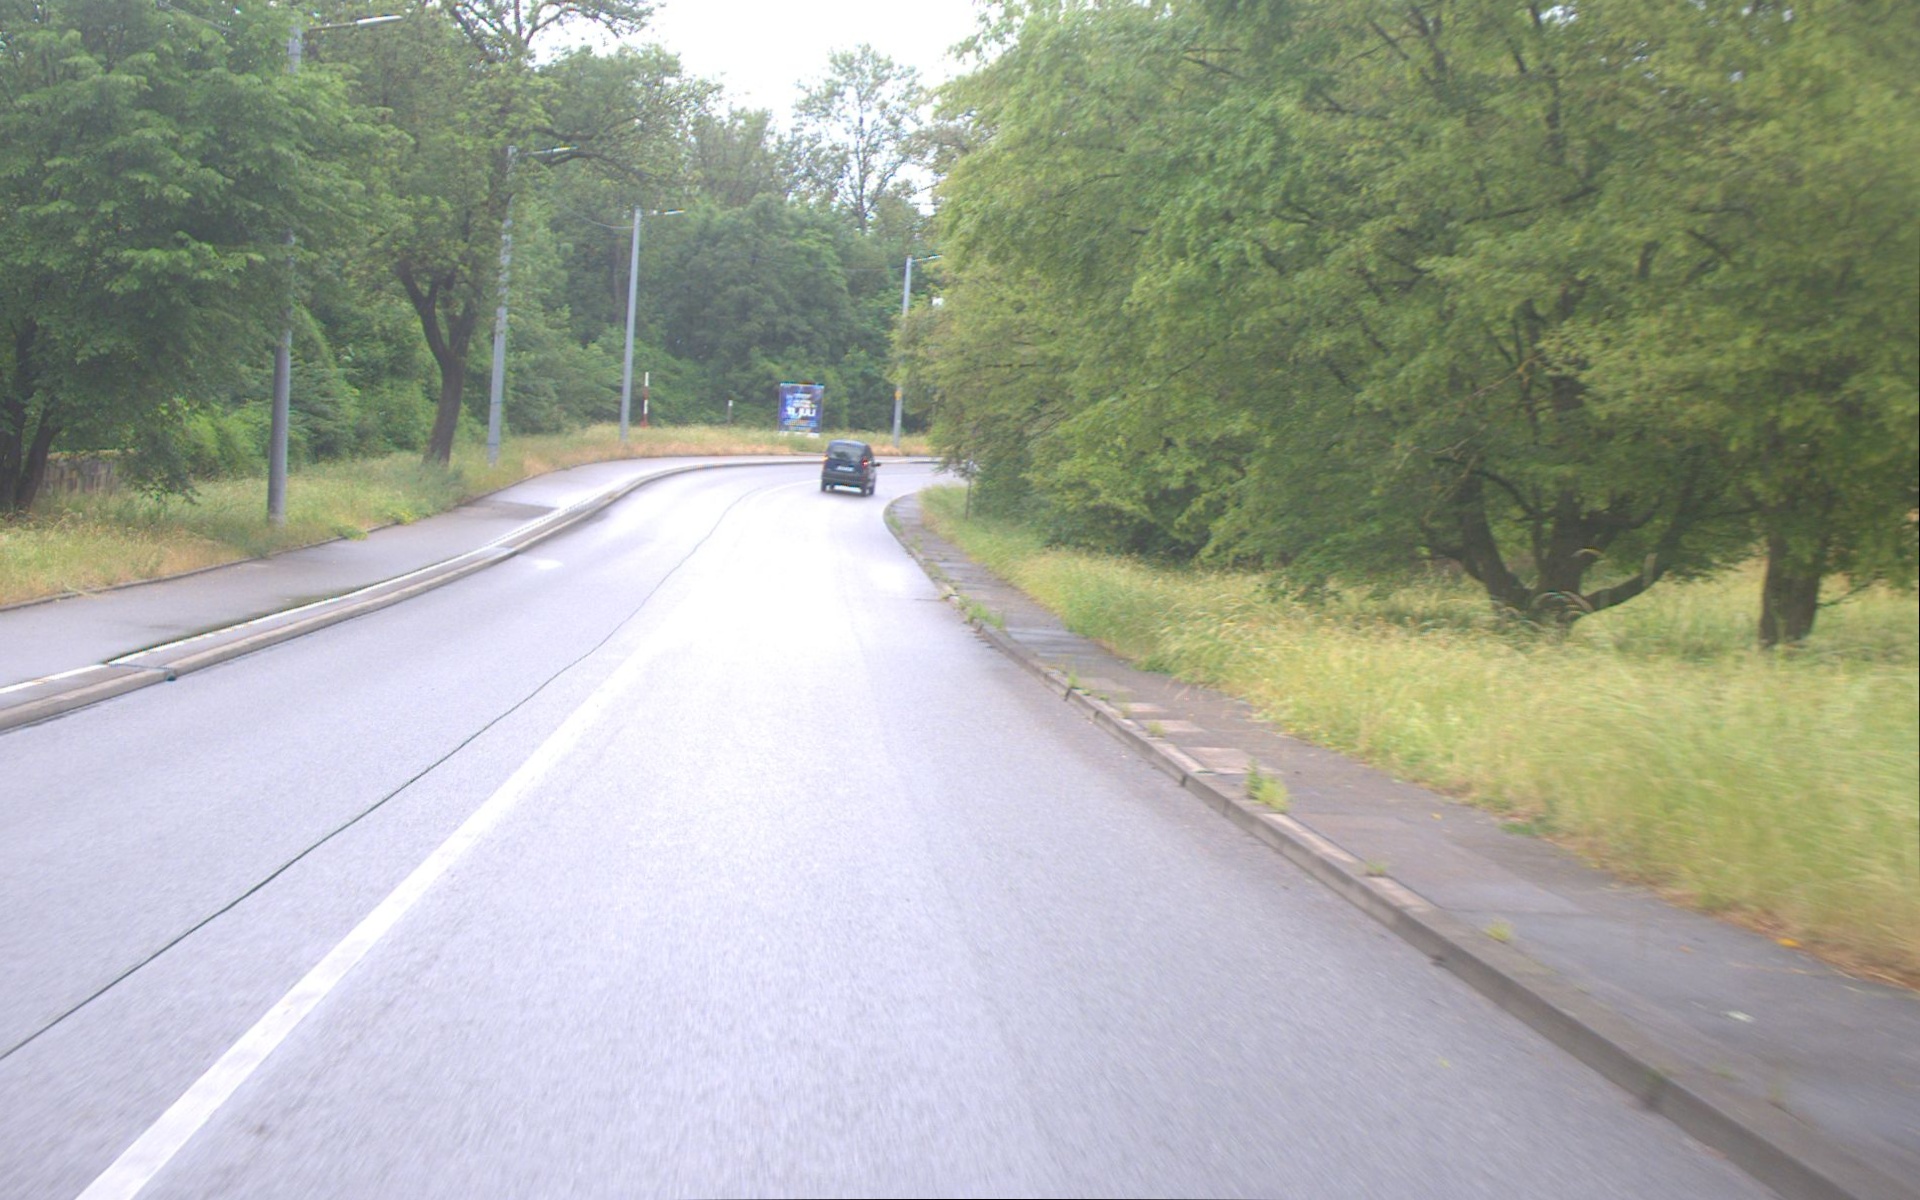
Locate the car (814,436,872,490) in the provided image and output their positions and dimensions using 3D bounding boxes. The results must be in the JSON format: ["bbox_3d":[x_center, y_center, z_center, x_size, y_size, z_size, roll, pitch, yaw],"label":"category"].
[{"bbox_3d":[-4.087,-4.804,120.723,1.742,1.711,4.000,4,2,0],"label":"car"}]
